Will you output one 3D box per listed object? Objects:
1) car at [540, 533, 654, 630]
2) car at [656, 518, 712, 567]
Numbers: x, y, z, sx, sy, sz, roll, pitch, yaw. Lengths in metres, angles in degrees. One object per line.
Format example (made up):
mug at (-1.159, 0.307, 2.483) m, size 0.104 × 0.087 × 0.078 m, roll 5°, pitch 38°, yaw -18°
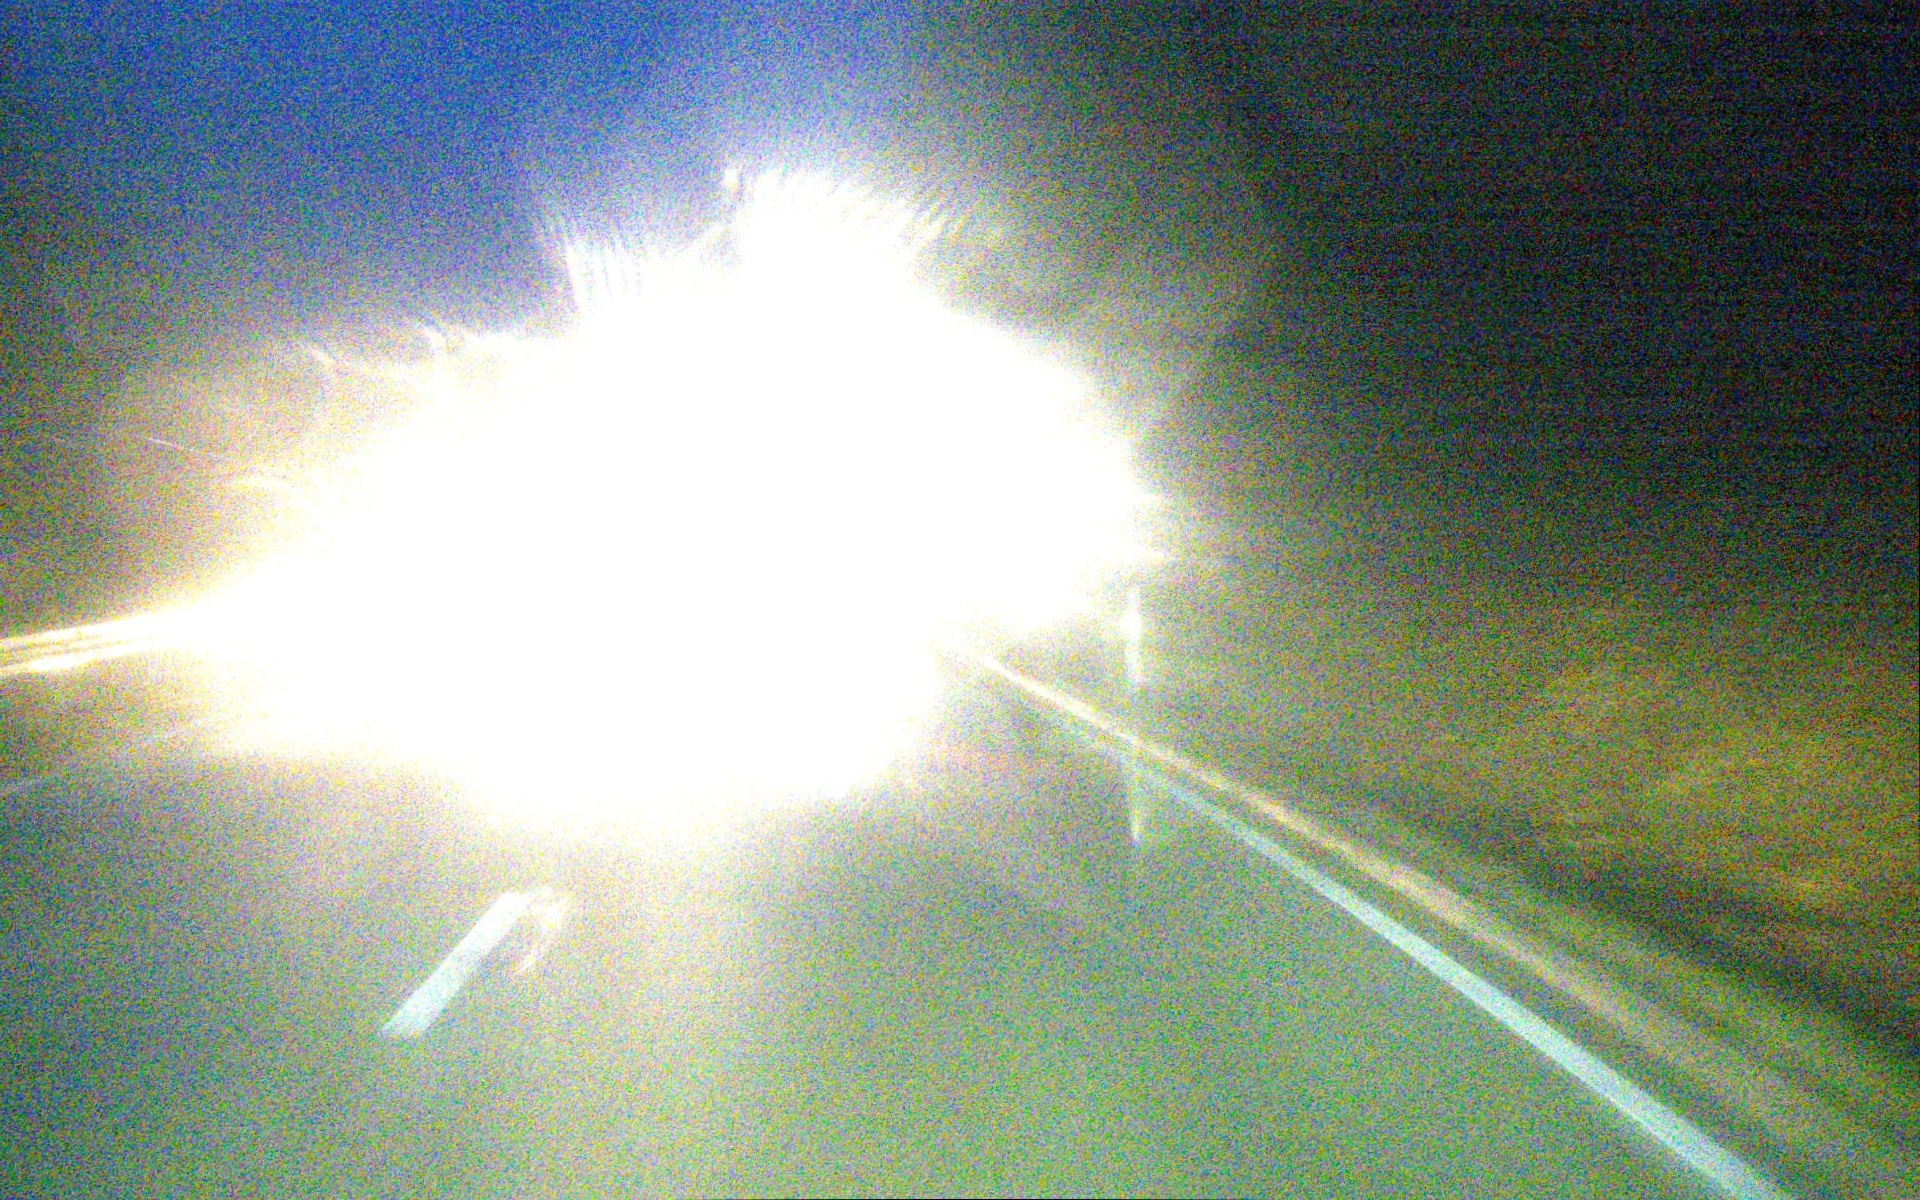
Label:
car at (-6.324, -0.349, 60.179) m, size 1.721 × 1.607 × 4.002 m, roll 1°, pitch 1°, yaw -3°
car at (-9.714, -2.035, 121.219) m, size 1.808 × 1.594 × 4.632 m, roll 2°, pitch 1°, yaw -4°
